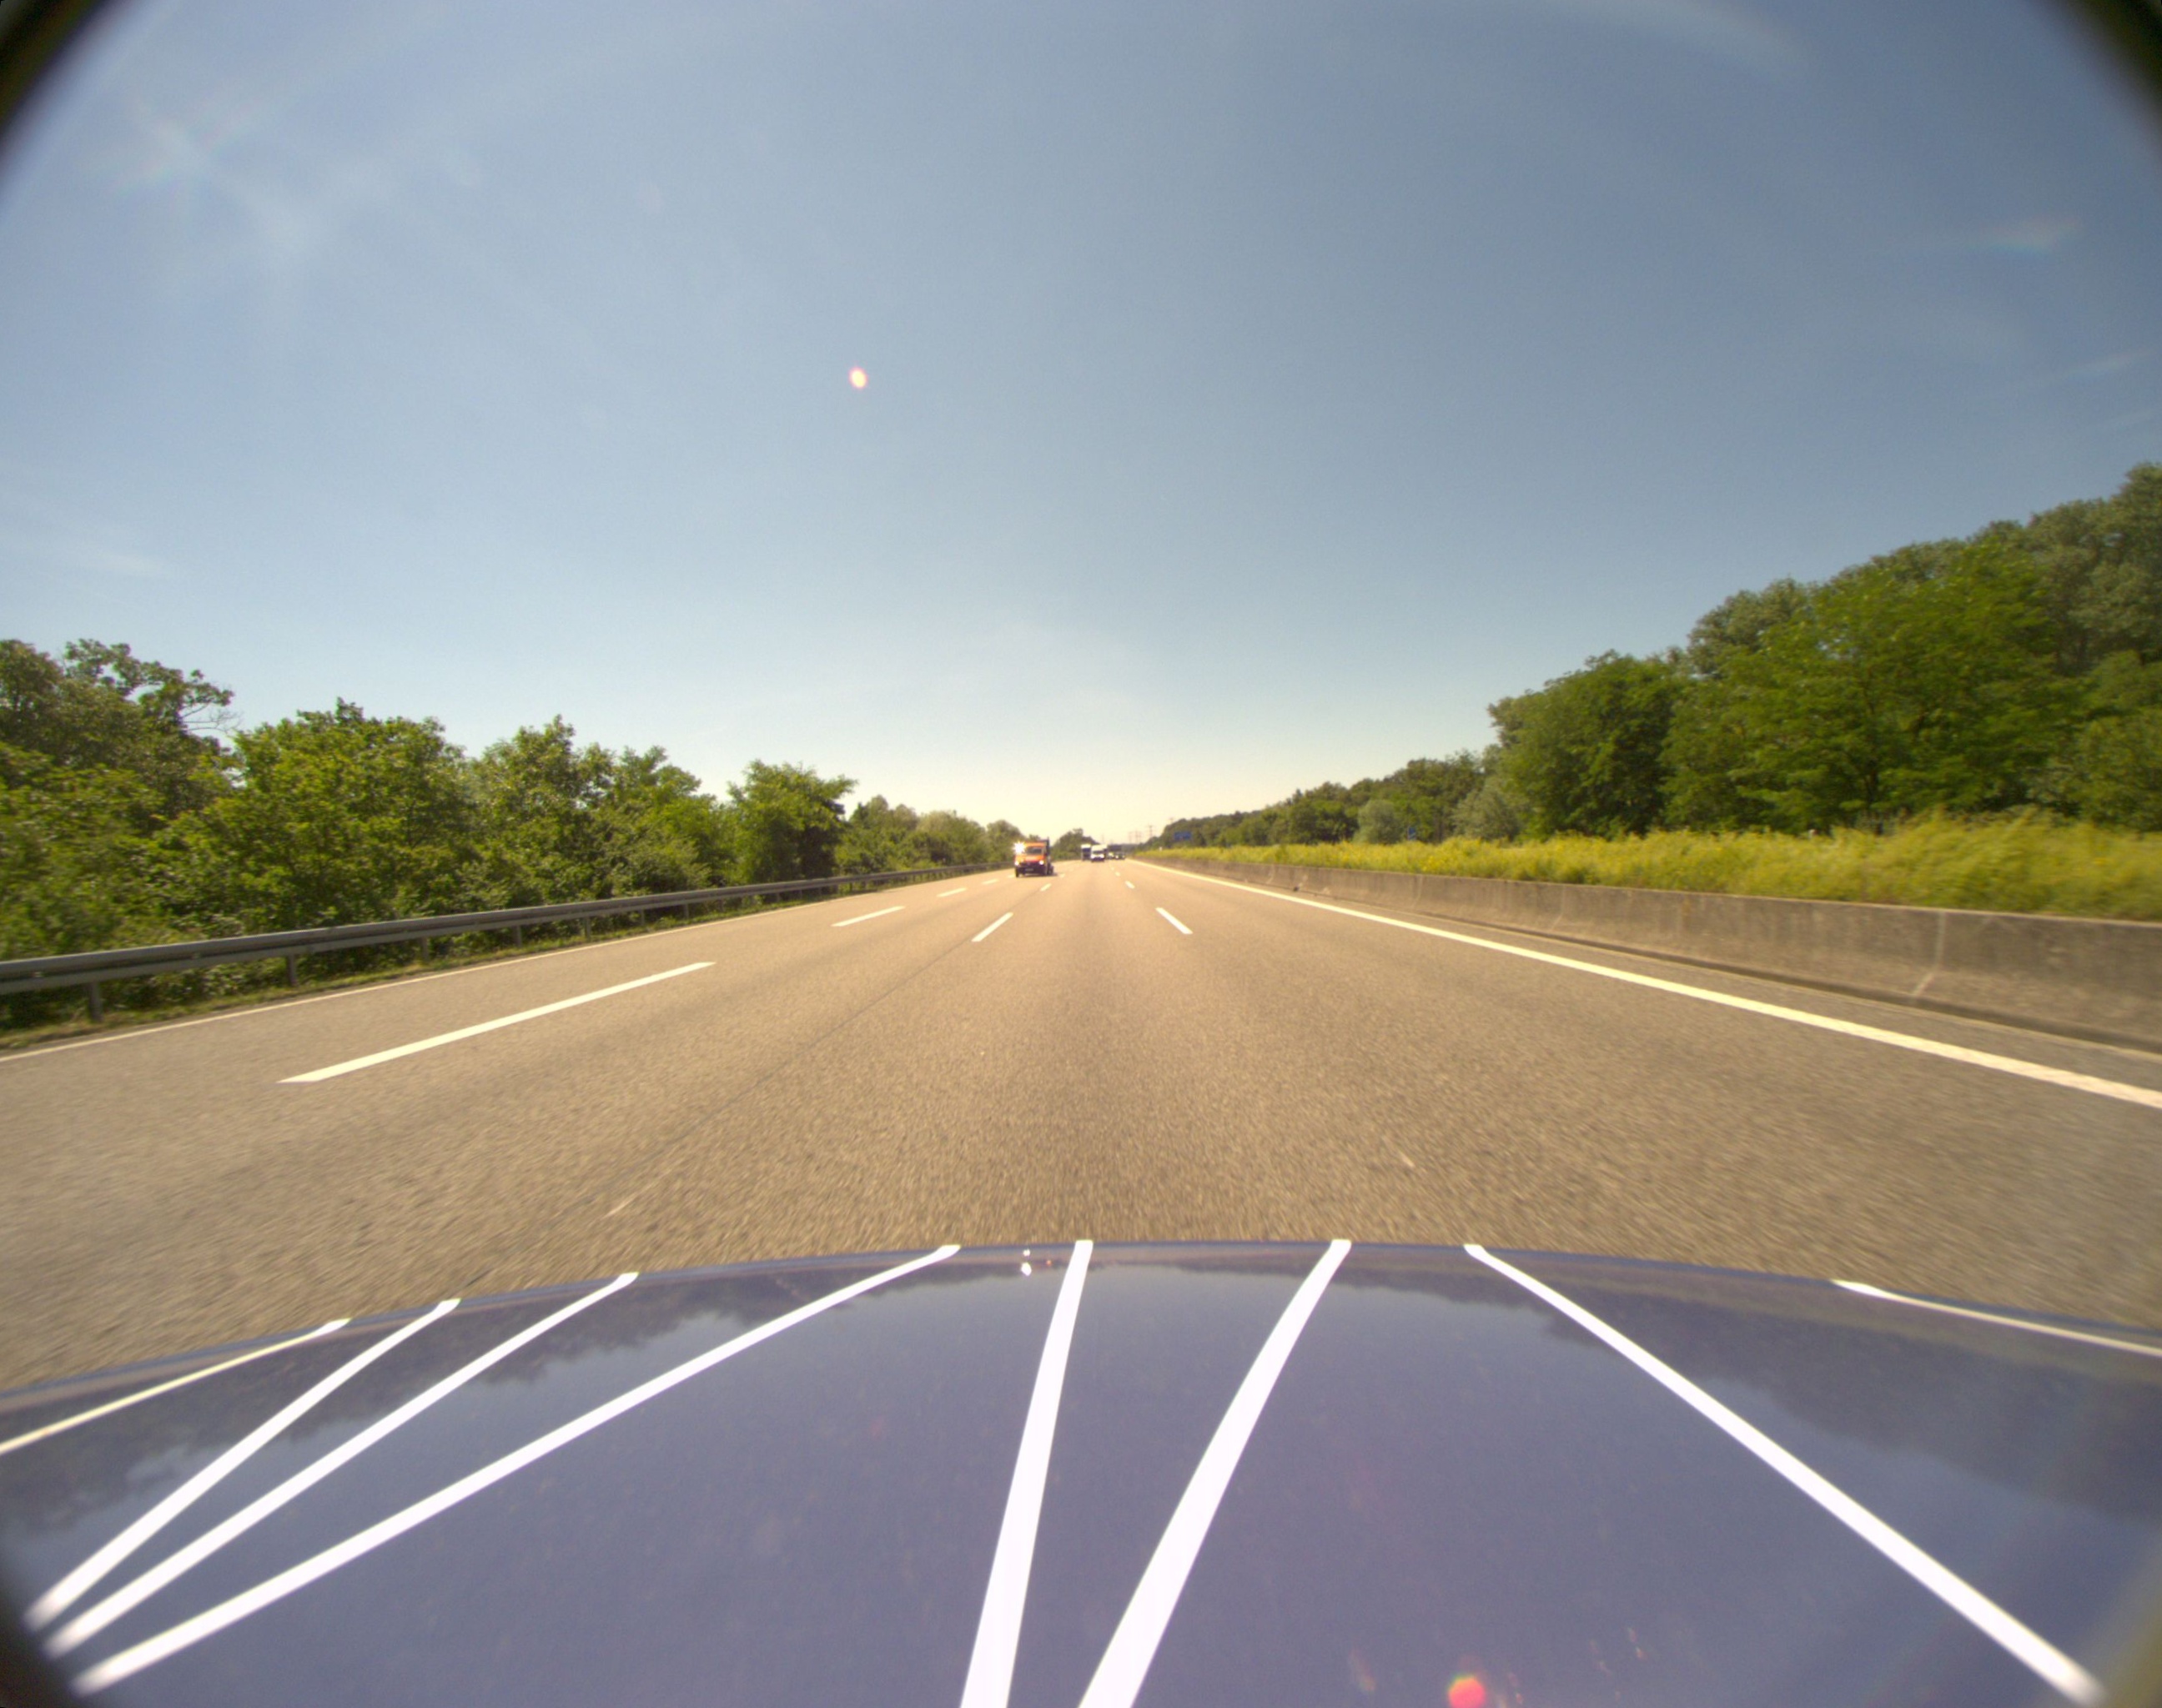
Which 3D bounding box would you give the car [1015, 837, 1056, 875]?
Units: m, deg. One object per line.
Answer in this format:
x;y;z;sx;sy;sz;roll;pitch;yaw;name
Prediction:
-3.123;0.141;53.685;1.998;2.391;7.228;-2;0;3;car

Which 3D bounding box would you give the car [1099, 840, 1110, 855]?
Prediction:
6.562;-1.774;211.427;2.796;4.090;7.305;-2;1;1;car

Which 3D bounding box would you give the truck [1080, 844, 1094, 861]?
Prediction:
1.638;-0.429;197.027;2.990;4.186;7.595;-3;0;4;truck

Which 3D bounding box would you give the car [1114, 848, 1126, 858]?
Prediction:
7.973;-0.202;155.300;1.999;2.001;4.000;-2;-1;0;car

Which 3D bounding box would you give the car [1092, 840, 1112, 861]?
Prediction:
3.316;-0.510;118.625;2.521;2.857;6.402;-5;0;4;car

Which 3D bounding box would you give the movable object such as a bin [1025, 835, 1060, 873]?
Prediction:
-2.962;-0.007;59.737;2.179;2.799;4.762;-2;0;3;movable object such as a bin
